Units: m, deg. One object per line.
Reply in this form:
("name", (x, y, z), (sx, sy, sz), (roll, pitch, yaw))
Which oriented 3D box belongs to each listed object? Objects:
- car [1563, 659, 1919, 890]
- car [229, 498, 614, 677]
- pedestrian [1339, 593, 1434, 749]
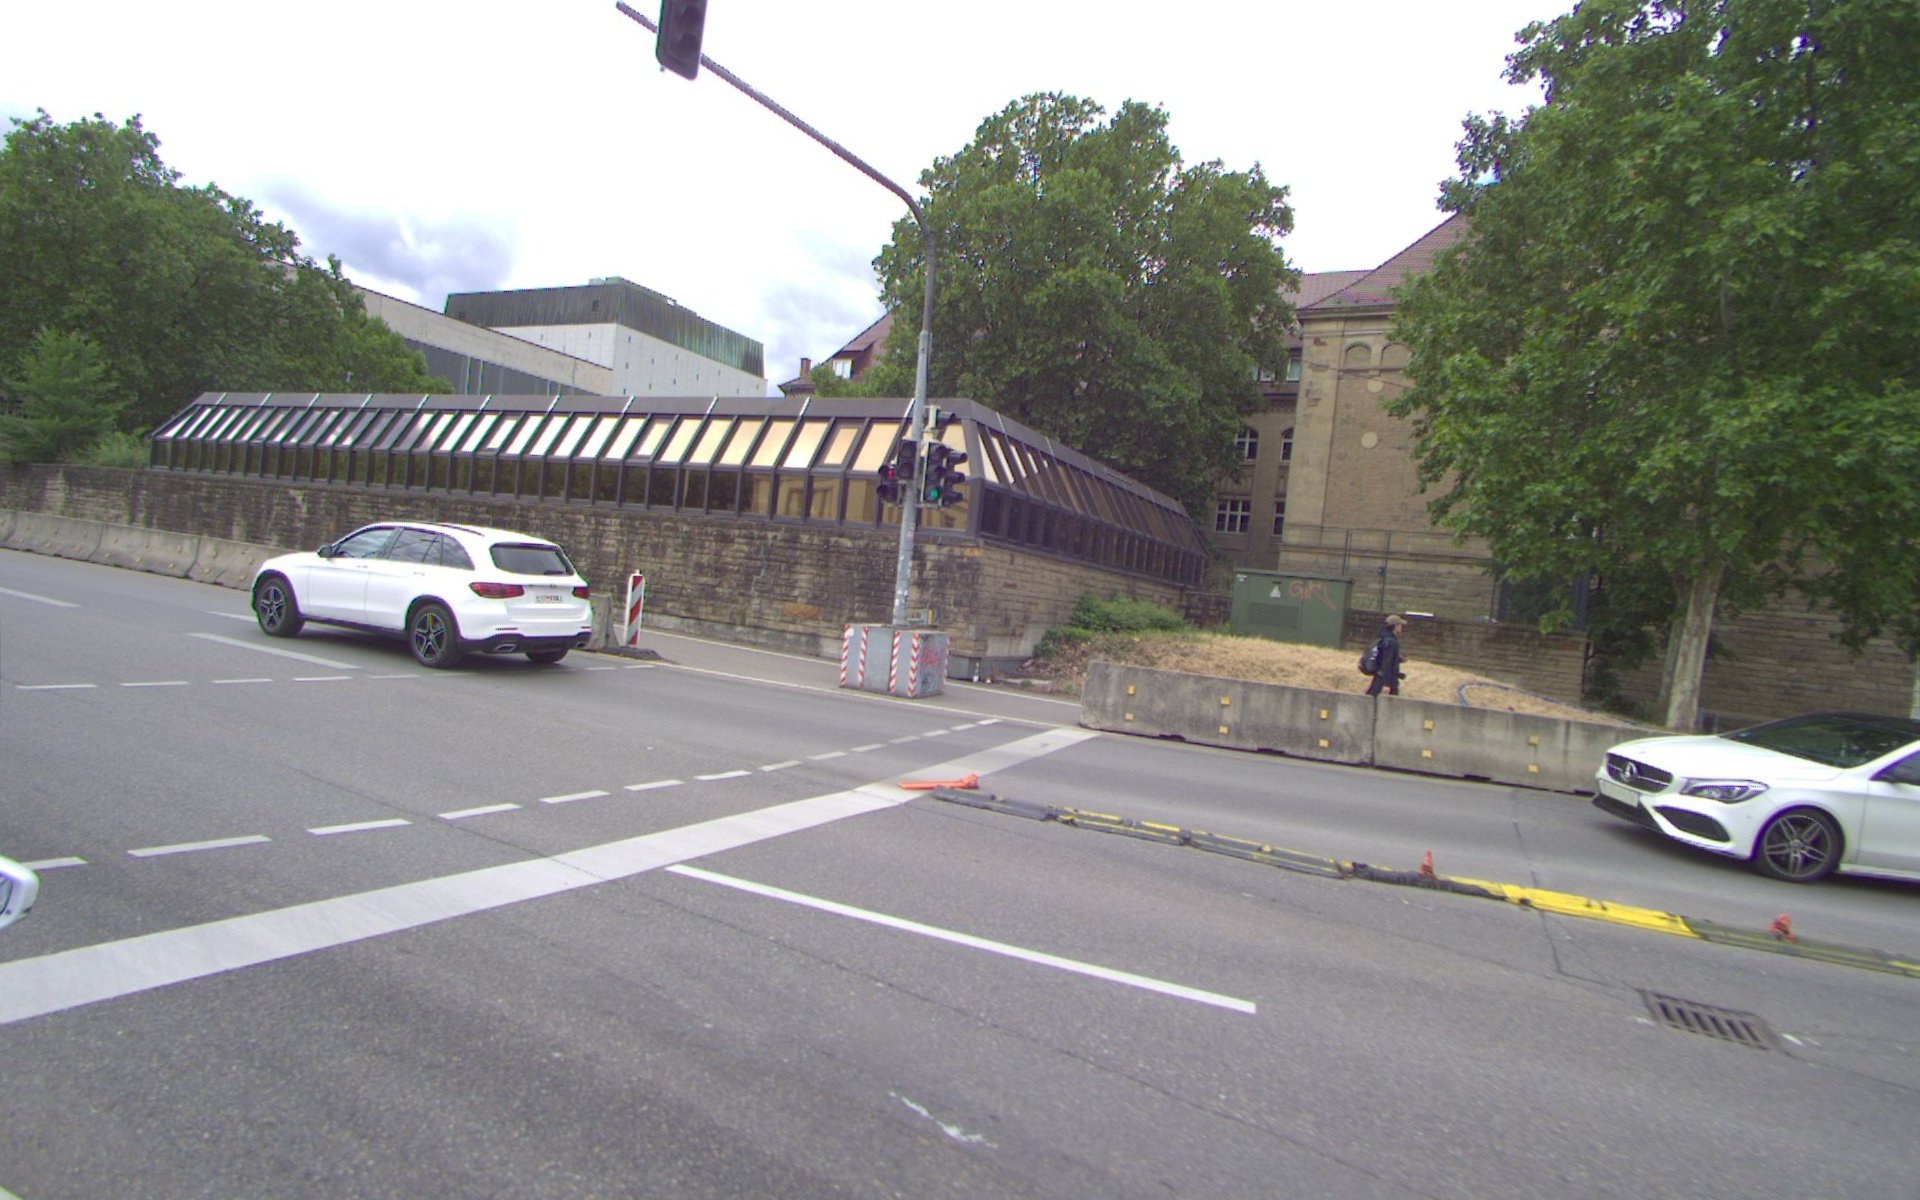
("car", (8.077, 1.616, 8.868), (4.301, 1.454, 1.738), (8, 2, 0))
("car", (-6.807, -0.220, 12.692), (4.469, 1.665, 1.814), (7, 3, 23))
("pedestrian", (5.875, 0.964, 13.895), (0.835, 2.038, 0.622), (6, 0, -4))
